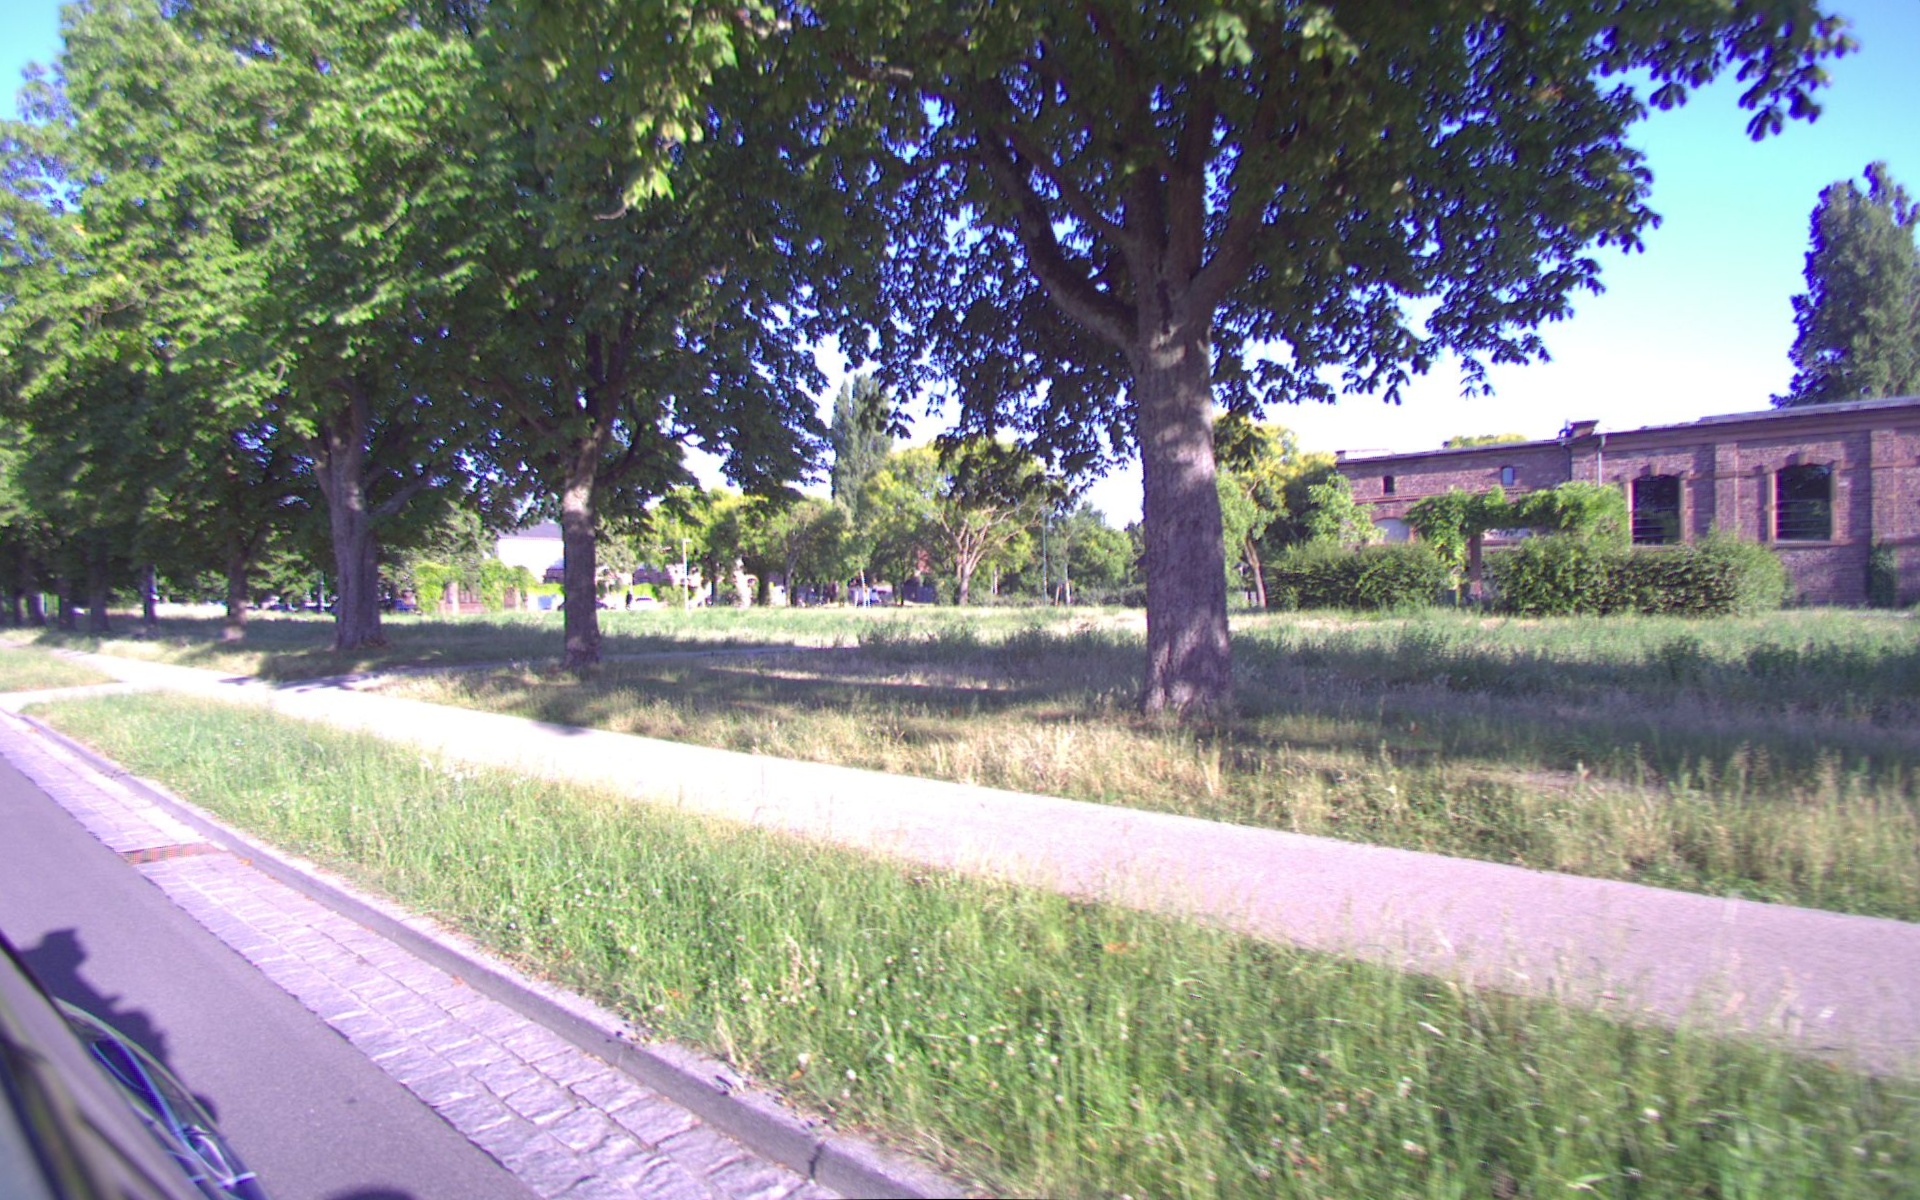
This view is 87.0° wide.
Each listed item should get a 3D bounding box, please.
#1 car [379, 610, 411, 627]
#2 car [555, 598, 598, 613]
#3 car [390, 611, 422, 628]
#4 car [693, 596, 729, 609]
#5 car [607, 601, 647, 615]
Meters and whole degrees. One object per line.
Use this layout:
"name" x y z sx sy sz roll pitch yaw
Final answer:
"car" -53.775 1.722 96.249 3.639 1.492 1.564 0 3 42
"car" -37.727 0.571 99.571 1.586 1.289 3.589 0 3 42
"car" -58.686 2.025 107.162 3.998 1.641 1.744 -1 2 41
"car" -27.779 0.225 112.930 1.586 1.289 3.589 0 3 42
"car" -34.316 0.832 104.313 1.586 1.289 3.589 0 3 42
